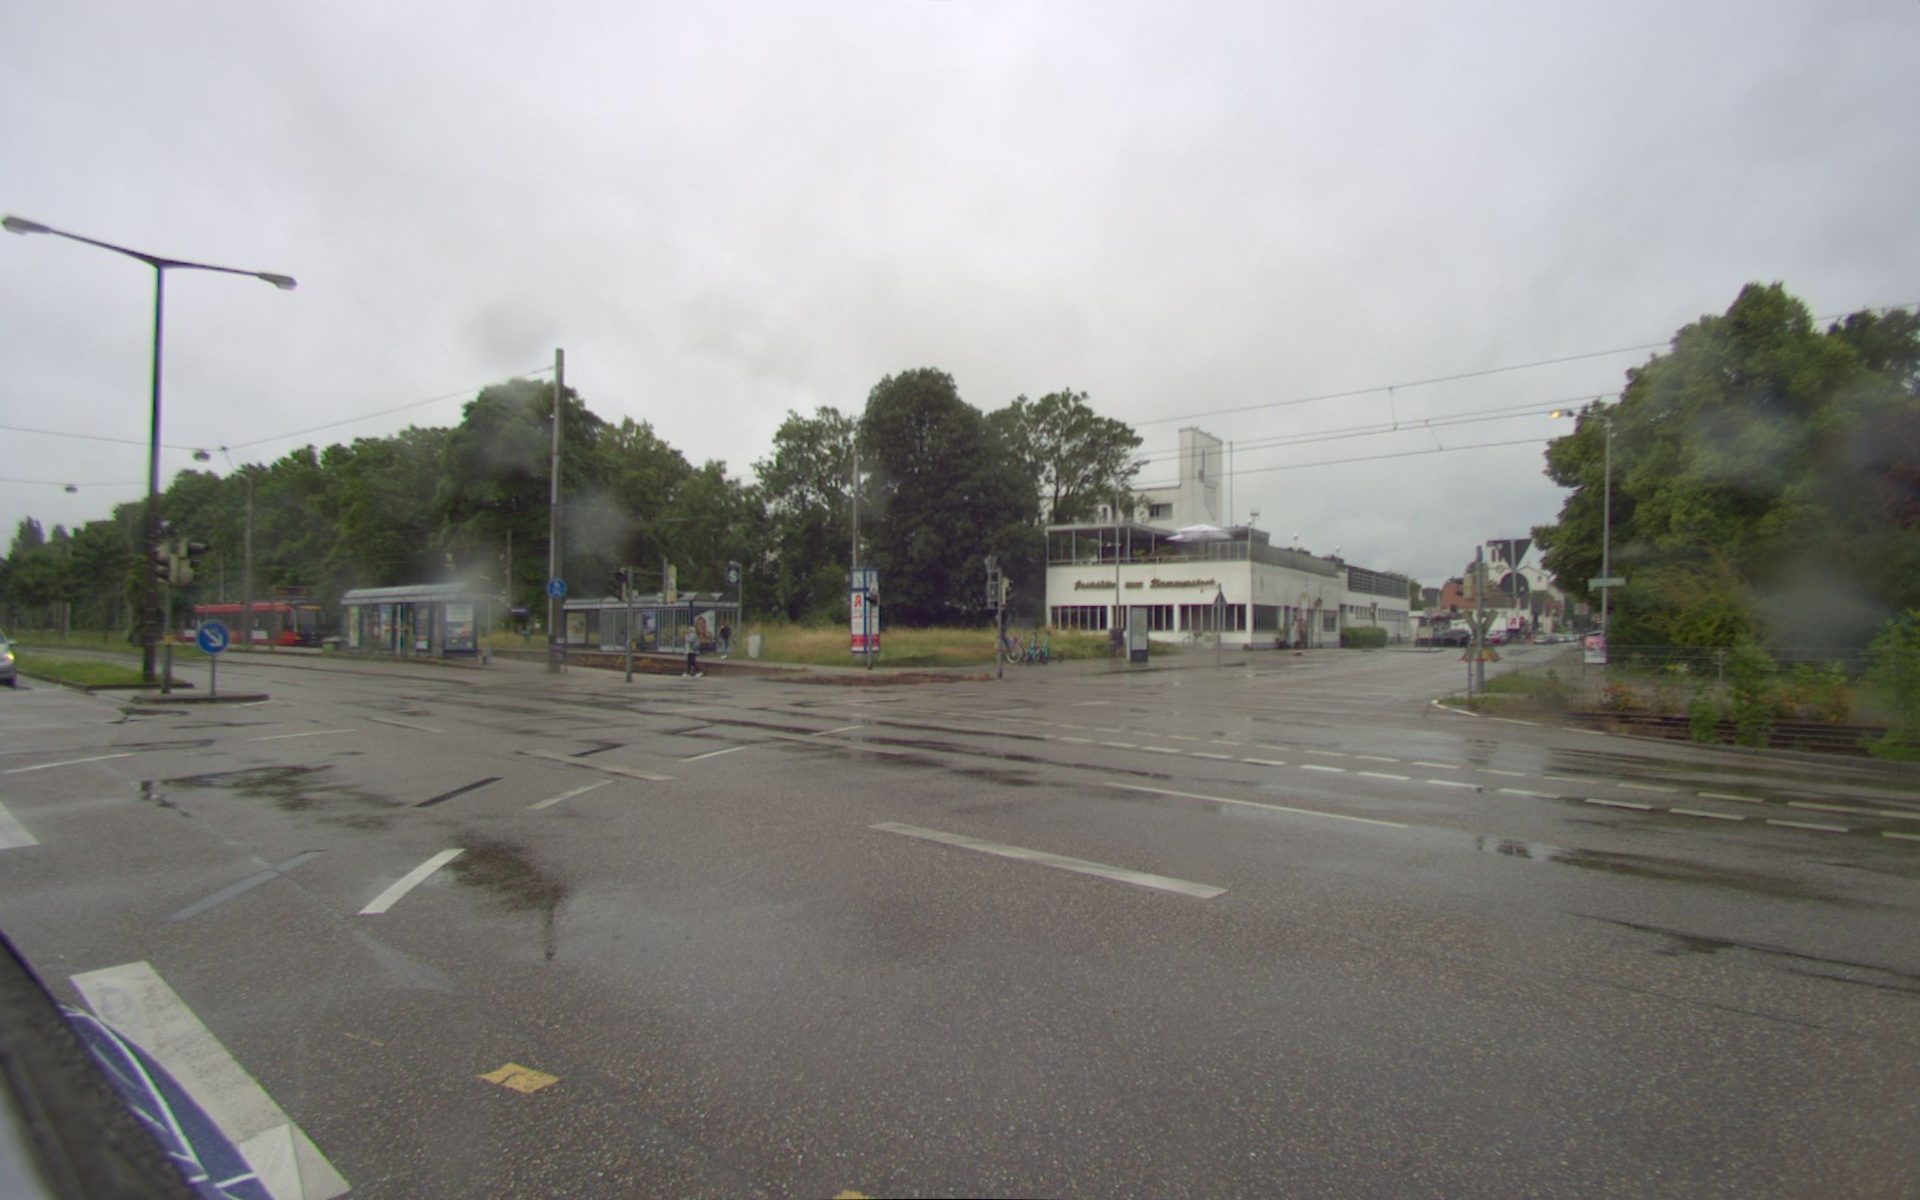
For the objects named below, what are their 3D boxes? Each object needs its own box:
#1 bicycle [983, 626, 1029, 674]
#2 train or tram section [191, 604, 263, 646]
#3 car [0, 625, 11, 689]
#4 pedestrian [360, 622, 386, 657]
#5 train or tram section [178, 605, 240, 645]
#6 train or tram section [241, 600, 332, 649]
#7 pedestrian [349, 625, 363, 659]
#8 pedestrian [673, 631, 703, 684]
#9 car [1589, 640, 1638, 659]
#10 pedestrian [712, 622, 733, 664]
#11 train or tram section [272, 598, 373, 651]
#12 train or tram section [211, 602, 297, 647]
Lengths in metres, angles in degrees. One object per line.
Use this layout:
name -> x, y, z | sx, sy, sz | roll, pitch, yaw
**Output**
bicycle -> 1.725, 1.865, 38.191 | 1.734, 1.774, 0.633 | -2, -3, 43
train or tram section -> -63.637, 2.170, 87.775 | 7.901, 3.438, 3.495 | -1, -2, 42
car -> -25.415, 1.464, 25.602 | 4.012, 1.556, 1.718 | -3, -2, 42
pedestrian -> -26.933, 1.808, 46.420 | 0.929, 1.609, 0.795 | -1, -2, 44
train or tram section -> -68.394, 2.280, 92.130 | 5.768, 3.444, 3.495 | -1, -2, 42
train or tram section -> -50.448, 1.837, 75.698 | 9.276, 3.416, 3.495 | -1, -2, 42
pedestrian -> -28.558, 1.983, 47.879 | 0.514, 1.574, 0.603 | -1, 0, -34
pedestrian -> -8.778, 1.848, 32.665 | 0.792, 1.670, 0.784 | -1, 0, -6
car -> 65.037, 4.870, 100.722 | 3.991, 1.717, 1.853 | -1, 0, 35
pedestrian -> -10.554, 1.889, 44.963 | 0.680, 1.806, 0.623 | -1, 0, 41
train or tram section -> -44.129, 1.681, 69.903 | 9.276, 3.415, 3.495 | -1, -2, 42
train or tram section -> -57.215, 1.999, 81.885 | 10.259, 3.427, 3.495 | -1, -2, 42
